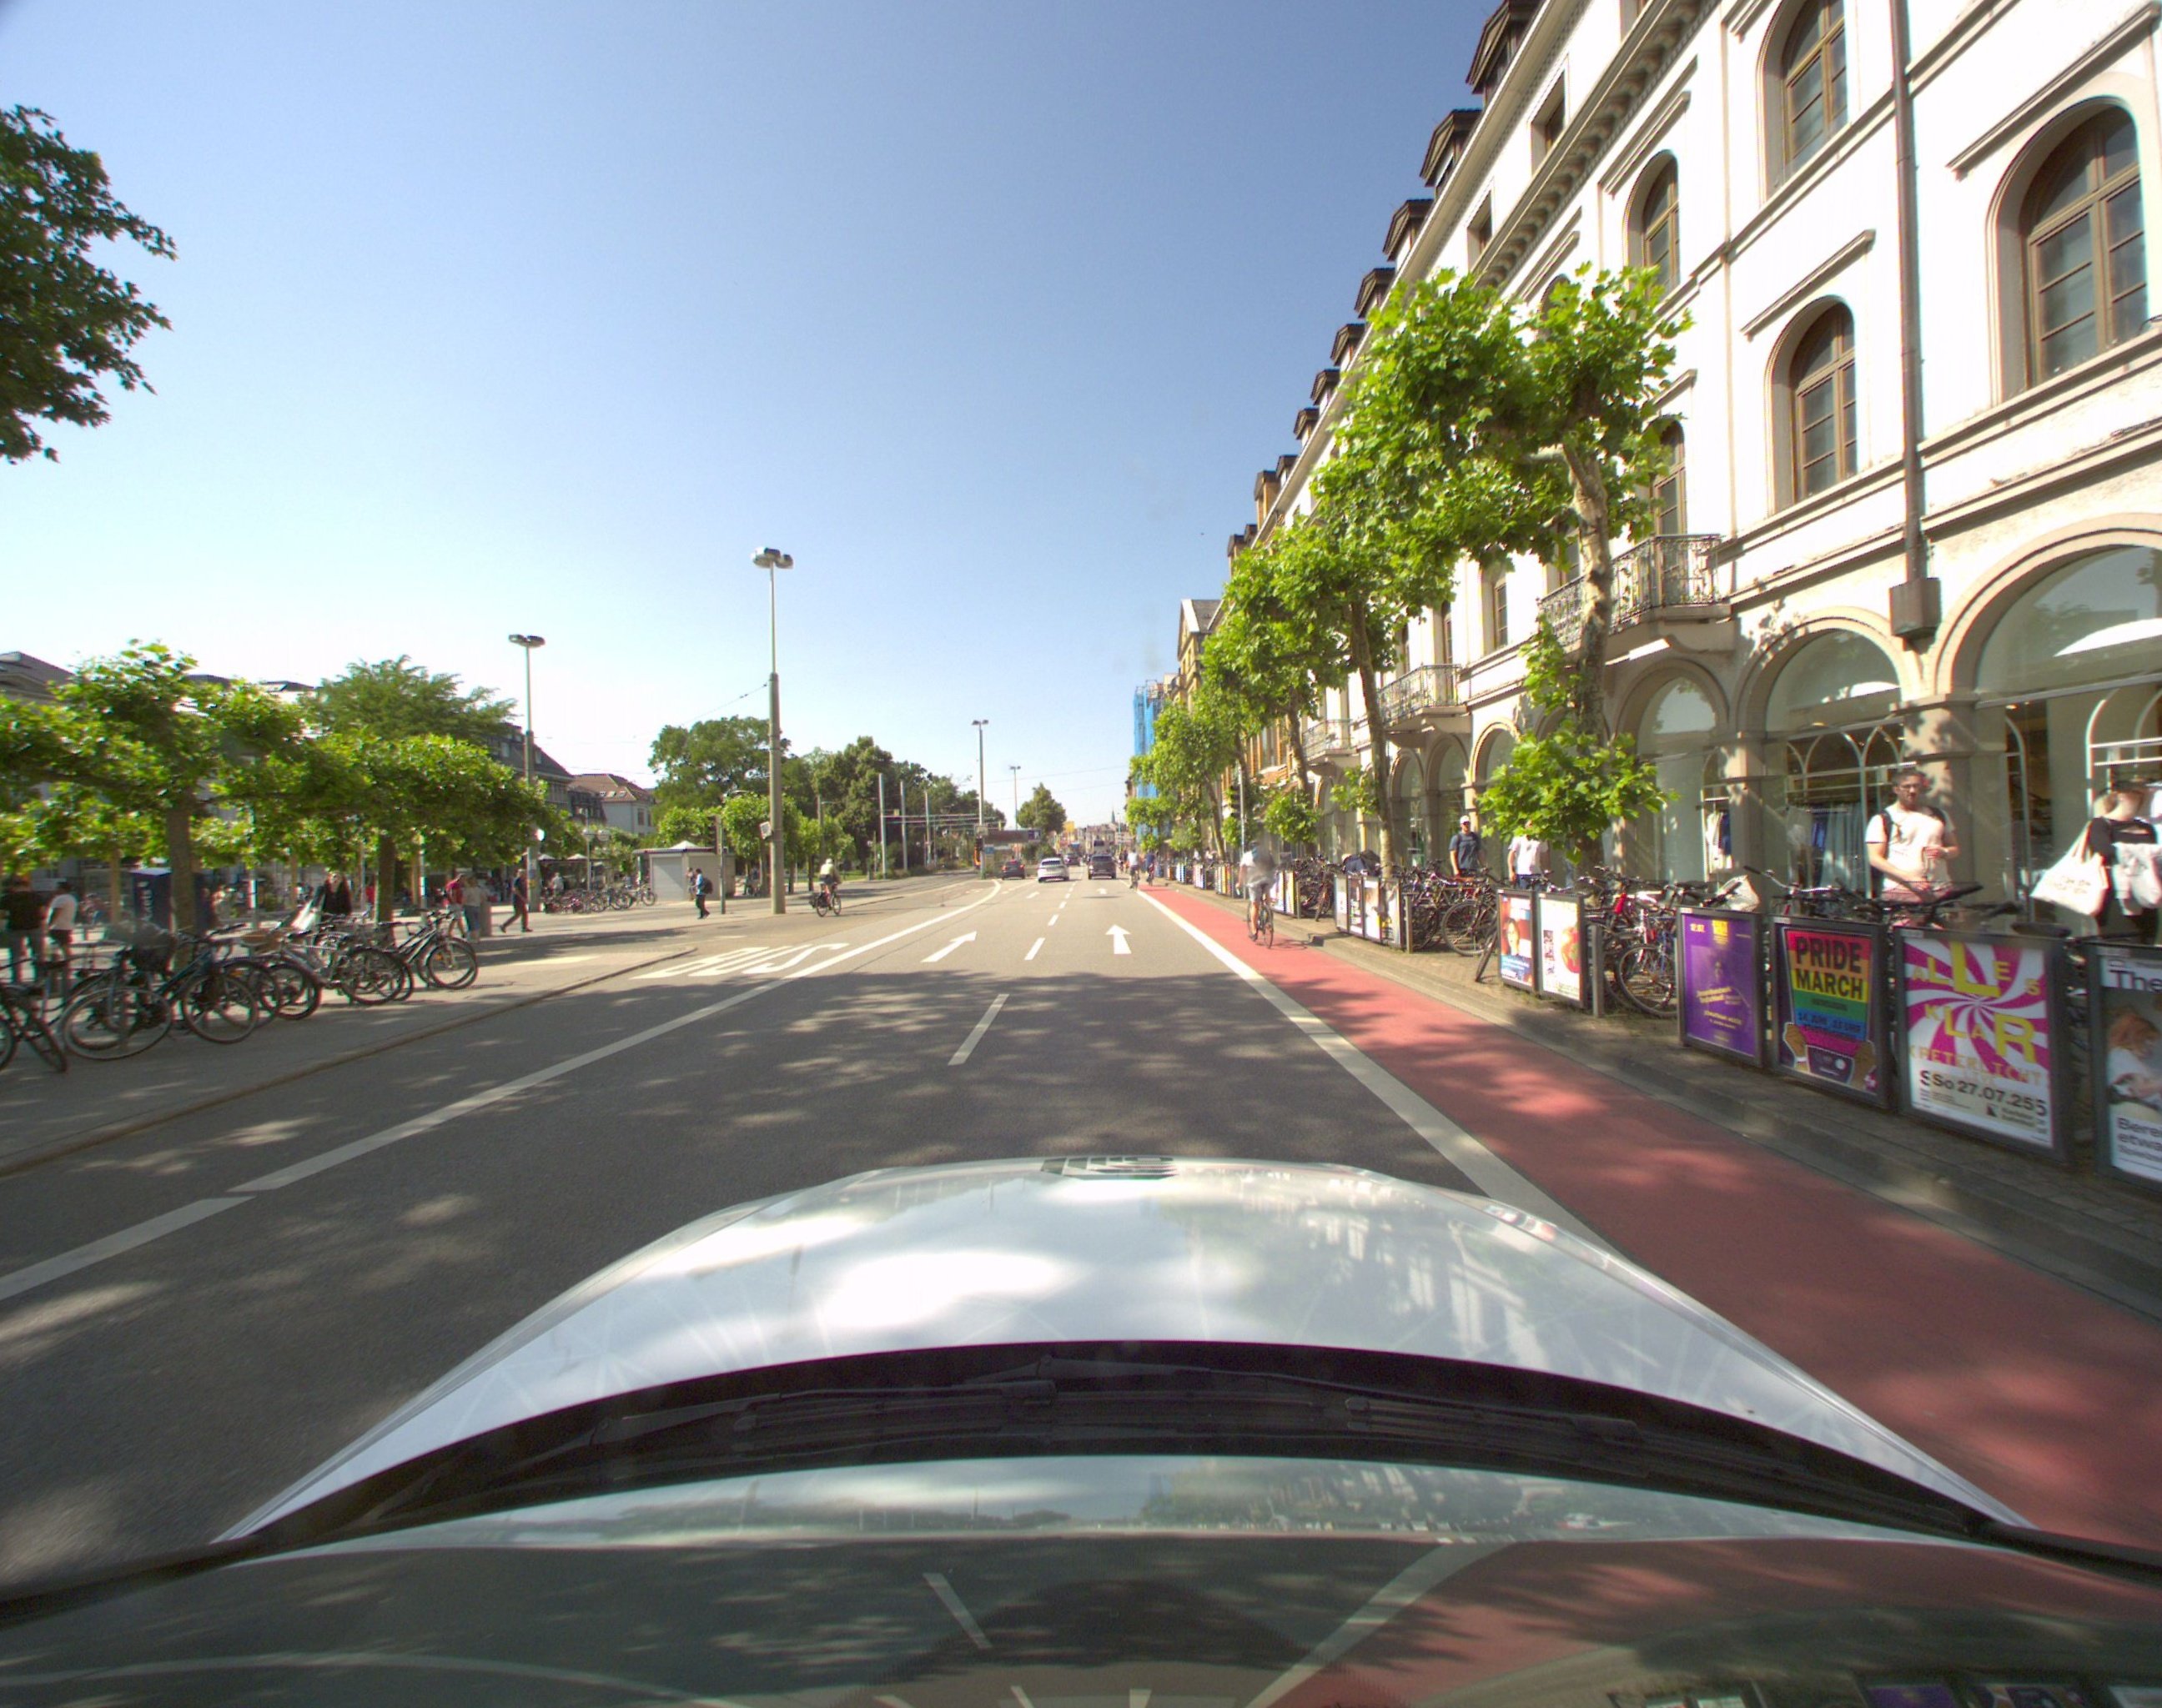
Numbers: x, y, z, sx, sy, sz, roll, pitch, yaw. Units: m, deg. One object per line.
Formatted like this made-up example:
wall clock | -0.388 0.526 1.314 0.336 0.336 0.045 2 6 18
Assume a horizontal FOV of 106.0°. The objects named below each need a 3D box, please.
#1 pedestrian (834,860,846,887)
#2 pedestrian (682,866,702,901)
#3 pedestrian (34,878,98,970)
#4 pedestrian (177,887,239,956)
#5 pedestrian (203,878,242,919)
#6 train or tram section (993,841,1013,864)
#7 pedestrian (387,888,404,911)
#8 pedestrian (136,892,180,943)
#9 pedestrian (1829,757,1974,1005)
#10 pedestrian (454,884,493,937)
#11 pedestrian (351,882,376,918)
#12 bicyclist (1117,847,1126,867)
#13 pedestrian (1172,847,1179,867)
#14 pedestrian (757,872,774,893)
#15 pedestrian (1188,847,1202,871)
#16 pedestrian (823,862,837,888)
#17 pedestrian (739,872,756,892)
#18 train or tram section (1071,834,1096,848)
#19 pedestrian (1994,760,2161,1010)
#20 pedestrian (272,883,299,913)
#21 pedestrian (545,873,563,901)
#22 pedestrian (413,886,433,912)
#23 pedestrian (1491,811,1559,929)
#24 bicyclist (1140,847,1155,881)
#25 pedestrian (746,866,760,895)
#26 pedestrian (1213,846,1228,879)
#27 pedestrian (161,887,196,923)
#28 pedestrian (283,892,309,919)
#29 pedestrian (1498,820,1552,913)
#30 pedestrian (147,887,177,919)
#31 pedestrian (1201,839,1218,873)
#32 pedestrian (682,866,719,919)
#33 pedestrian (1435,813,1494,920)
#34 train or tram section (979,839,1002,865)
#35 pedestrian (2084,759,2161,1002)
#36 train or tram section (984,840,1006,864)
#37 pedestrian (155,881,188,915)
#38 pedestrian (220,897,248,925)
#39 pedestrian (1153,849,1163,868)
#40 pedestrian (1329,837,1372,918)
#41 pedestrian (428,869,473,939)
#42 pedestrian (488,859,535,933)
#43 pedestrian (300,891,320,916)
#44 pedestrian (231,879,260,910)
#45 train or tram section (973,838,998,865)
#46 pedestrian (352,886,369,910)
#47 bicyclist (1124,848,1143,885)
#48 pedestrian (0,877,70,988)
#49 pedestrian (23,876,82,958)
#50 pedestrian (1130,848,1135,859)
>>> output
pedestrian | -15.756 1.251 53.230 0.528 1.733 0.582 -4 0 -30
pedestrian | -19.926 1.488 41.759 0.753 1.728 0.832 -4 0 -23
pedestrian | -19.785 1.356 15.883 0.480 1.718 0.509 -4 0 0
pedestrian | -20.730 1.584 19.347 0.621 1.524 0.680 -4 0 0
pedestrian | -32.359 1.658 30.701 0.675 1.465 0.626 -4 0 6
train or tram section | -12.908 -0.230 135.181 2.605 3.581 6.016 0 0 0
pedestrian | -39.719 2.657 47.164 0.513 1.263 0.455 -4 0 16
pedestrian | -27.128 1.854 23.951 0.684 1.418 0.618 -5 1 -38
pedestrian | 6.516 0.208 6.493 0.543 1.882 0.602 0 0 -2
pedestrian | -14.679 1.355 19.682 0.571 1.234 0.557 -2 -1 34
pedestrian | -30.425 1.937 34.539 0.684 1.465 0.618 -5 1 -38
bicyclist | 3.221 0.261 65.109 0.686 1.577 1.049 0 0 -1
pedestrian | 7.801 0.255 67.382 0.380 1.683 0.476 -3 -1 -3
pedestrian | -19.237 1.735 49.652 0.674 1.246 0.751 -4 0 -6
pedestrian | 7.873 0.352 56.399 0.601 1.626 0.640 -4 0 -18
pedestrian | -16.399 1.356 53.261 0.521 1.609 0.628 -4 0 9
pedestrian | -20.487 1.727 50.012 0.674 1.171 0.751 -4 0 -6
train or tram section | 0.608 -3.393 219.655 2.797 3.581 10.089 0 0 25
pedestrian | 7.530 0.215 6.040 0.672 1.740 0.753 0 0 -2
pedestrian | -40.802 2.235 41.766 0.620 1.465 0.681 -4 0 5
pedestrian | -29.165 1.833 45.071 0.684 1.465 0.618 -5 1 -36
pedestrian | -39.109 2.672 48.424 0.620 1.466 0.681 -2 -2 6
pedestrian | 6.978 0.246 12.828 0.632 1.793 0.776 0 0 -2
bicyclist | 3.233 0.494 39.545 0.686 1.616 0.918 0 0 1
pedestrian | -18.918 1.504 46.977 0.577 1.609 0.598 -4 0 -29
pedestrian | 7.913 0.472 46.113 0.665 1.781 0.986 -2 -1 4
pedestrian | -39.178 2.201 35.349 0.621 1.465 0.680 -4 0 -3
pedestrian | -39.205 2.557 40.675 0.617 1.263 0.583 -4 0 9
pedestrian | 8.269 0.229 15.182 0.654 1.696 0.676 0 0 2
pedestrian | -43.583 2.309 38.629 0.583 1.465 0.622 -4 0 -12
pedestrian | 6.233 0.119 39.510 0.651 1.633 0.730 0 0 -2
pedestrian | -12.417 1.251 26.629 0.892 1.658 0.678 -2 0 -9
pedestrian | 6.959 0.220 14.820 0.699 1.902 0.776 0 0 -2
train or tram section | -12.946 -0.284 116.902 2.605 3.581 6.103 0 0 0
pedestrian | 8.287 0.195 6.047 0.717 1.782 0.776 0 0 -2
train or tram section | -12.931 -0.267 122.624 2.605 3.581 5.356 0 0 0
pedestrian | -41.146 1.997 36.863 0.622 1.465 0.679 -4 0 -7
pedestrian | -40.408 2.709 38.859 0.617 1.263 0.583 -4 0 9
pedestrian | 7.617 0.447 80.750 0.810 1.848 0.893 -3 -1 8
pedestrian | 5.195 0.445 15.702 0.603 1.538 0.666 0 0 -1
pedestrian | -16.442 1.293 21.242 0.617 1.745 0.685 -4 1 34
pedestrian | -16.109 1.175 23.031 0.900 2.007 0.672 -4 0 -44
pedestrian | -40.838 2.615 43.143 0.514 1.263 0.454 -4 0 5
pedestrian | -41.363 2.003 40.329 0.620 1.465 0.681 -4 0 5
train or tram section | -12.963 -0.302 110.802 2.605 3.581 6.103 0 0 0
pedestrian | -40.286 2.468 45.525 0.513 1.263 0.455 -4 0 16
bicyclist | 2.224 0.519 34.551 0.686 1.577 1.049 0 0 -1
pedestrian | -17.905 1.311 13.889 0.628 1.794 0.672 -5 1 -42
pedestrian | -25.986 1.574 20.585 0.691 2.007 0.563 -1 -1 -9
pedestrian | 7.892 -0.080 124.718 0.652 1.620 0.815 -3 1 -1
